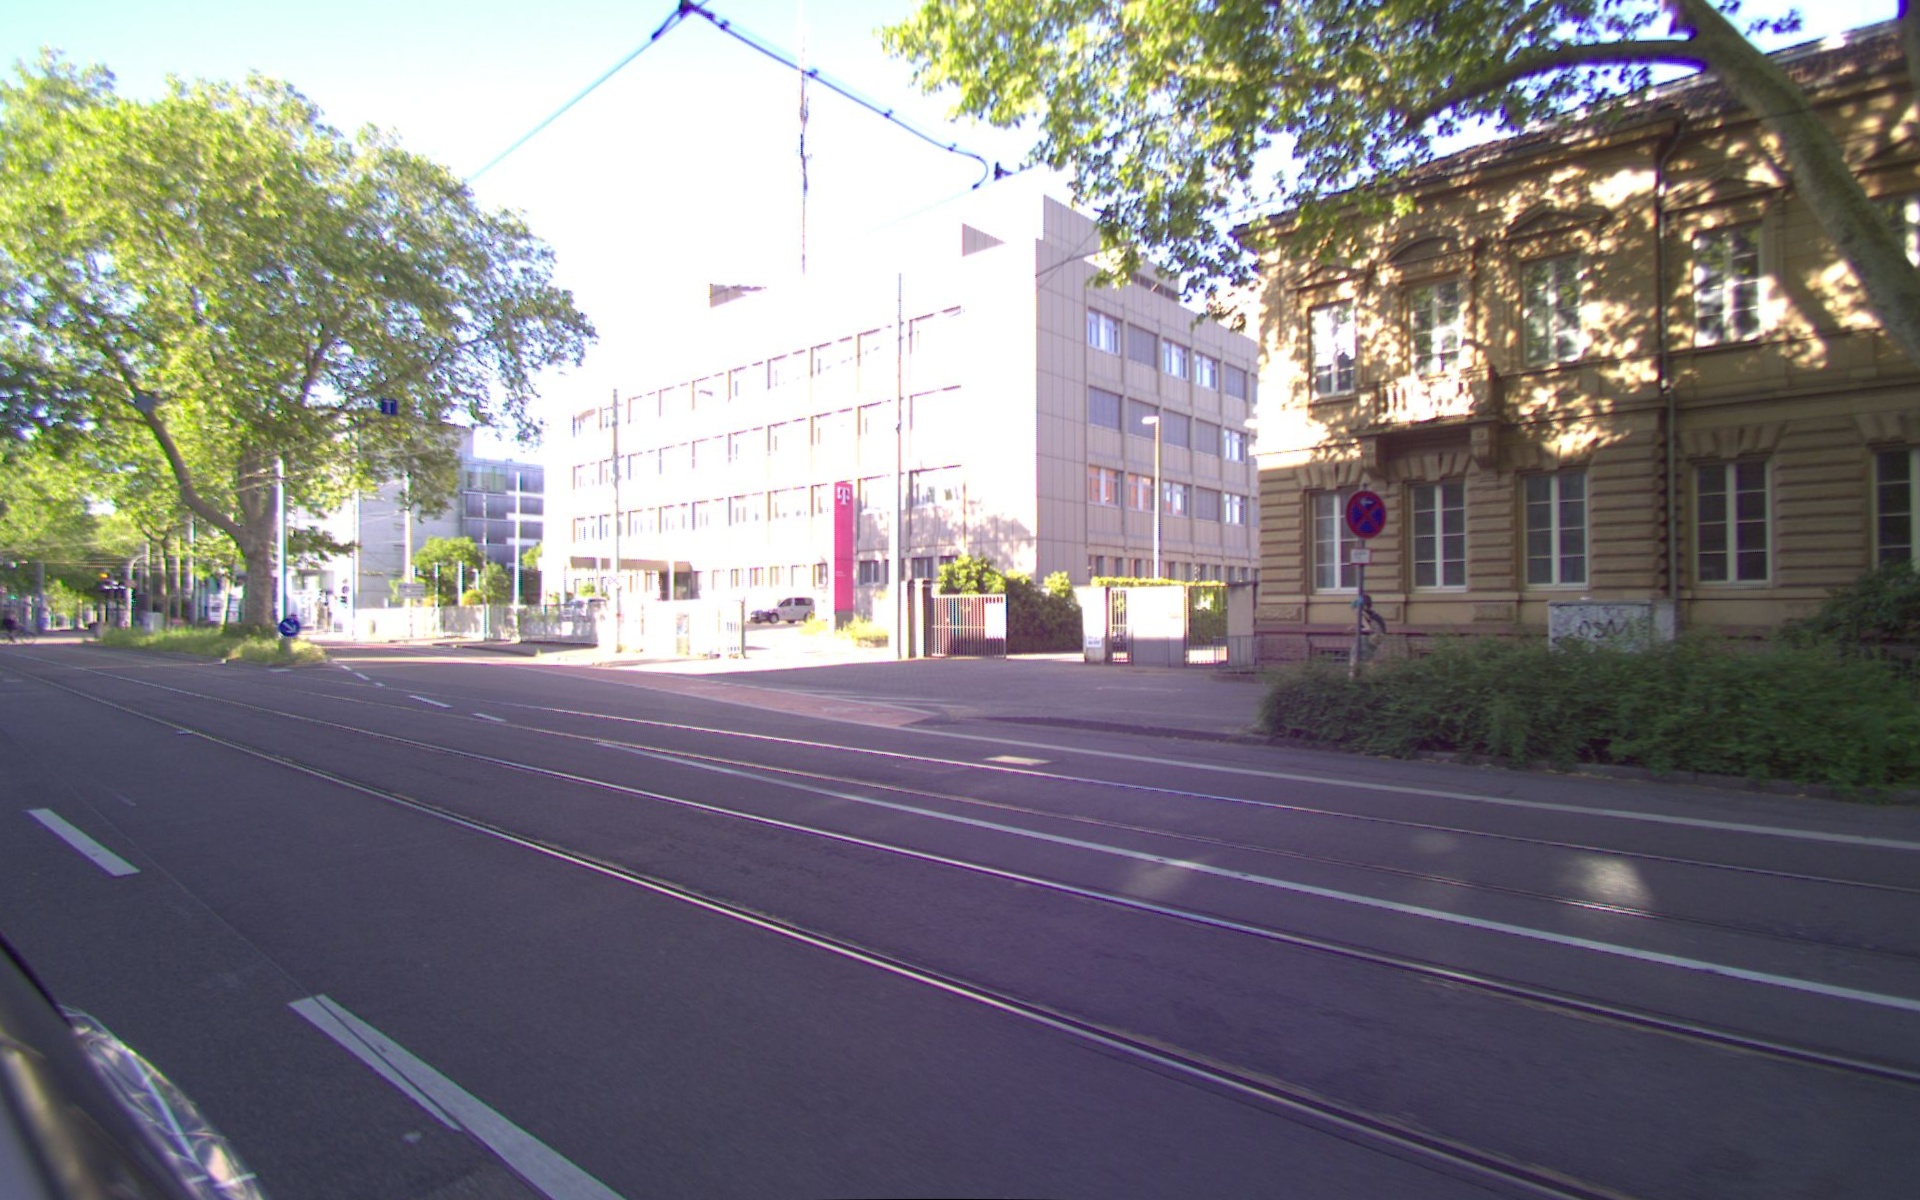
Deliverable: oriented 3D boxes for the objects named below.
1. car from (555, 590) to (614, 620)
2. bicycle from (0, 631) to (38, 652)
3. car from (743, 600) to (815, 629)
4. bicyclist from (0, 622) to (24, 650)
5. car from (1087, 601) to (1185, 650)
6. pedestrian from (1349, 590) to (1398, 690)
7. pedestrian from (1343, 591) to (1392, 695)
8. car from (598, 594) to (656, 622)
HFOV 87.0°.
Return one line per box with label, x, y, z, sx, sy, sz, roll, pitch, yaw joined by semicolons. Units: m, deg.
car;-24.100;0.330;64.909;3.998;1.831;1.828;0;0;41
bicycle;-54.062;2.384;57.819;2.051;1.137;0.761;-1;0;-41
car;-11.285;0.889;63.383;1.852;1.732;4.223;-1;0;40
bicyclist;-54.133;2.050;57.759;0.992;1.588;0.761;0;0;-40
car;6.842;0.939;39.083;1.852;1.732;4.223;-1;0;40
pedestrian;7.239;0.687;17.719;0.660;1.710;0.665;-1;0;34
pedestrian;6.899;0.708;17.129;0.655;1.710;0.629;-1;0;34
car;-21.839;0.498;66.298;3.998;1.765;1.828;0;0;41
